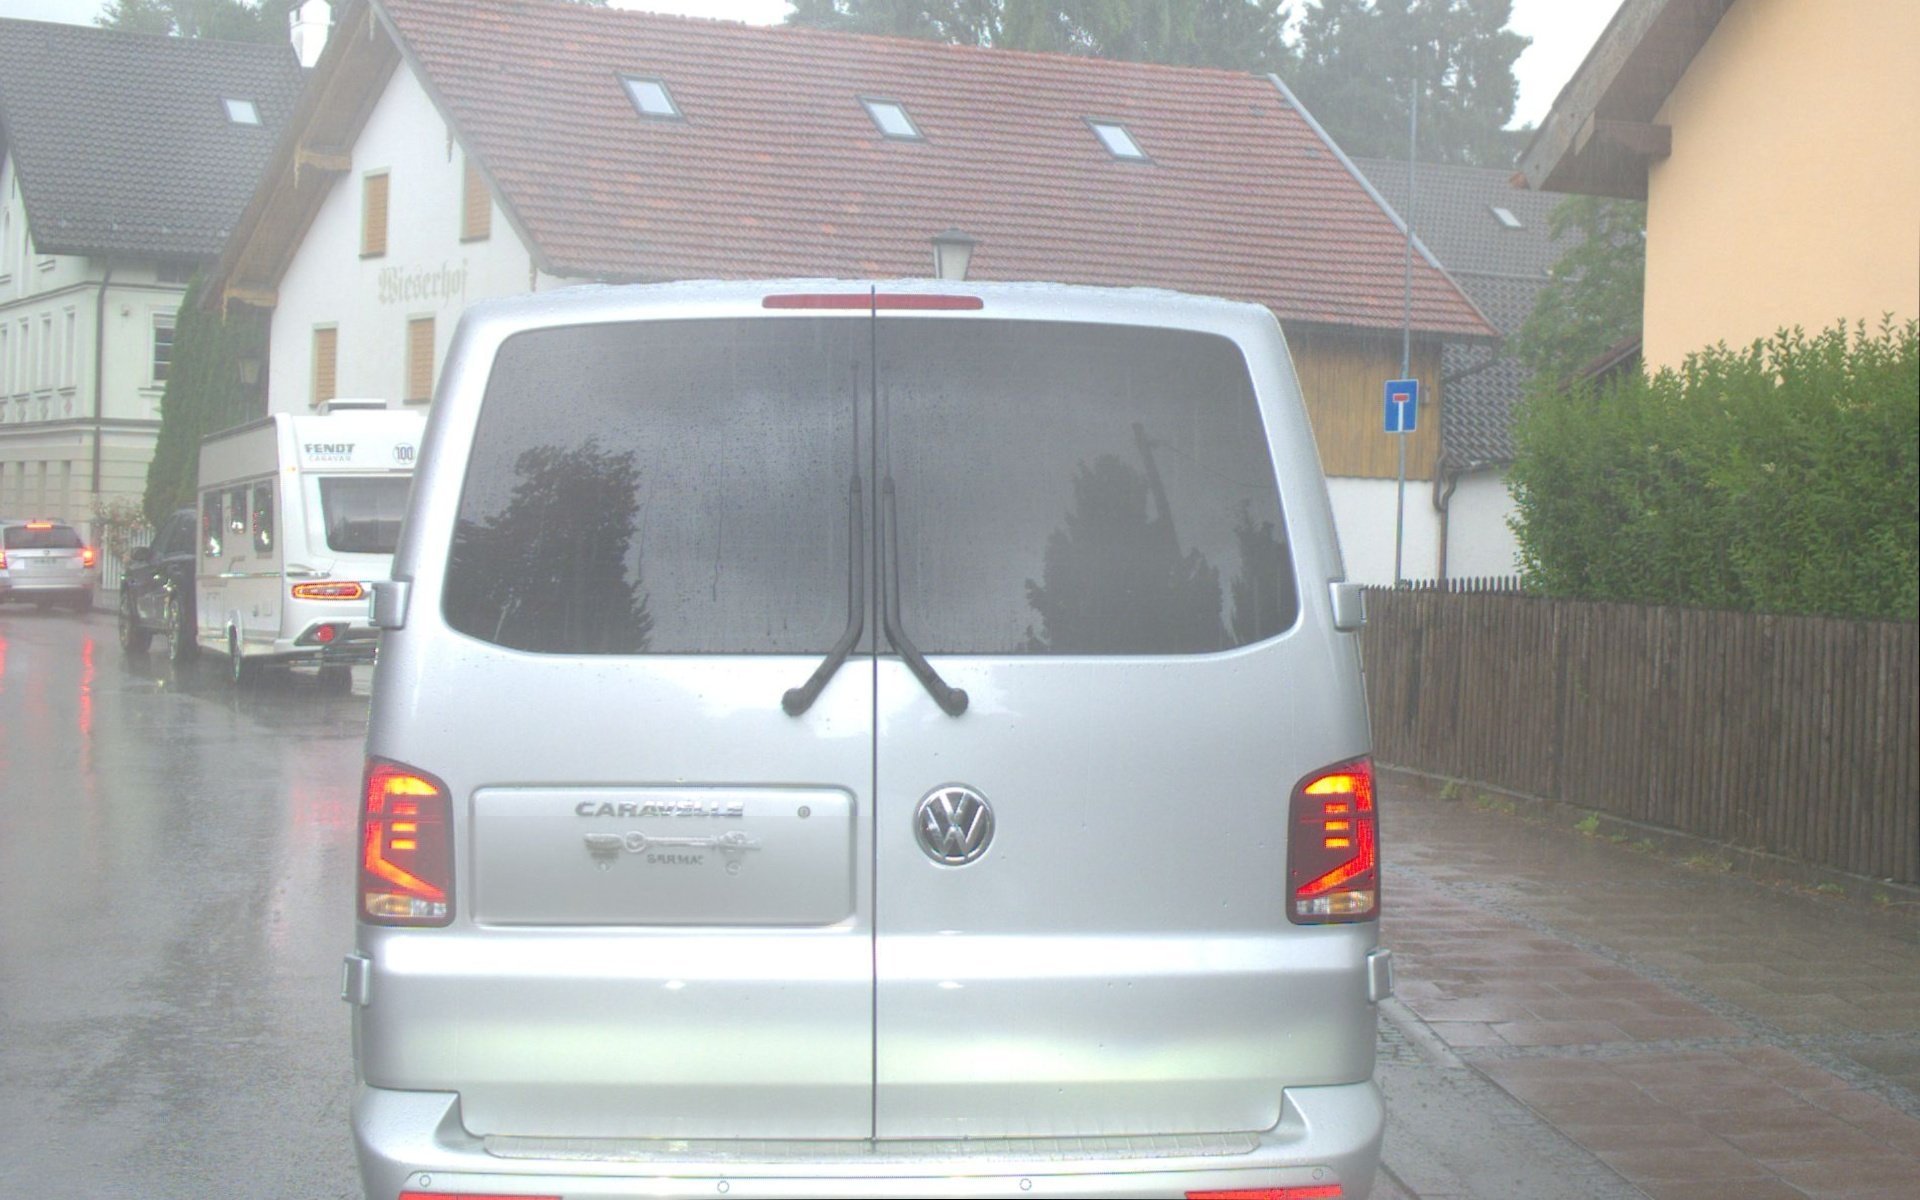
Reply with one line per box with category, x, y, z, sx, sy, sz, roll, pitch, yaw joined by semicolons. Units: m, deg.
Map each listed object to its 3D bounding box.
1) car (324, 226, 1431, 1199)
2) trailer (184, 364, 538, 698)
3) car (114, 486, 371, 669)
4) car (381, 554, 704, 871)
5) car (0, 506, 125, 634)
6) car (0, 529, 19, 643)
car;-0.144;0.337;8.074;1.776;1.956;5.074;0;1;0
trailer;-5.891;-0.657;33.068;2.270;2.894;6.134;0;1;-20
car;-8.075;-0.284;38.308;2.053;1.892;5.177;0;1;-20
car;-2.537;0.575;20.951;1.708;1.578;4.687;-1;2;-7
car;-14.892;-0.493;54.301;2.168;1.893;5.015;2;0;-27
car;-18.039;-0.347;59.869;2.168;1.892;5.015;2;1;-27
